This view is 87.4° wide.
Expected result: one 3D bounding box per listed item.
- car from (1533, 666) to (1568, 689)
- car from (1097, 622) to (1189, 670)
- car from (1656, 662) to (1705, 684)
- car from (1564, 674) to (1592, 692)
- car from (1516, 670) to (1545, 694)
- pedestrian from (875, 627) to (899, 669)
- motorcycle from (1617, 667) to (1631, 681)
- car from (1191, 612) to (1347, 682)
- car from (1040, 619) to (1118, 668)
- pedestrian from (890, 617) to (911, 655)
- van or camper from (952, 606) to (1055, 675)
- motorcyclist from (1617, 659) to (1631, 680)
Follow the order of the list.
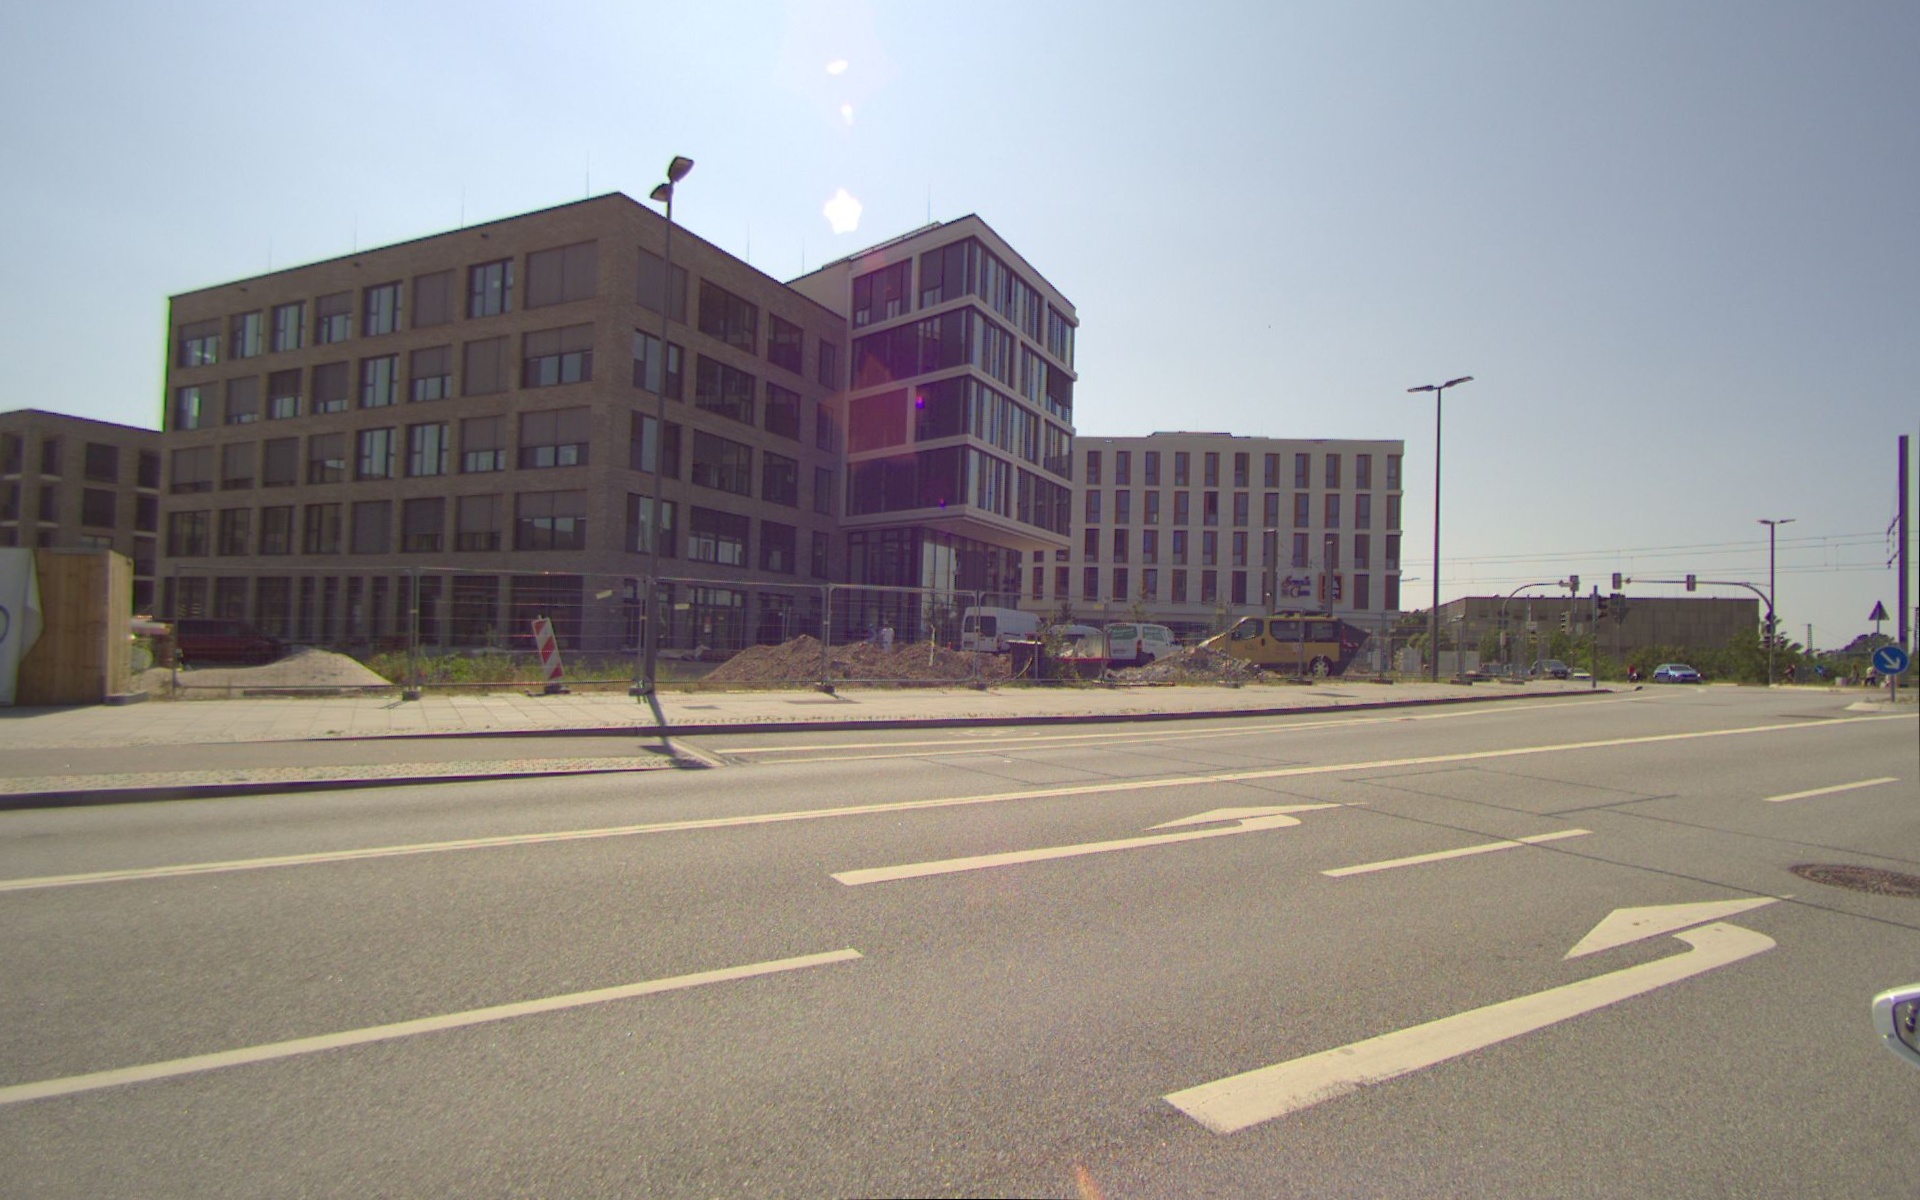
[{"bbox_3d":[42.126,5.506,71.673,1.646,1.496,3.405,0,-1,22],"label":"car"},{"bbox_3d":[7.491,1.839,40.780,1.841,1.797,4.637,2,-1,36],"label":"car"},{"bbox_3d":[50.172,5.073,69.997,1.787,1.348,4.001,2,-2,21],"label":"car"},{"bbox_3d":[55.787,7.515,90.750,1.578,1.356,2.925,2,-1,20],"label":"car"},{"bbox_3d":[45.070,6.442,79.360,1.541,1.608,3.477,2,-1,23],"label":"car"},{"bbox_3d":[-3.099,2.013,42.622,0.734,1.741,0.699,2,0,17],"label":"pedestrian"},{"bbox_3d":[50.809,5.655,76.882,0.511,0.967,1.933,2,-1,23],"label":"motorcycle"},{"bbox_3d":[9.845,1.468,32.358,4.533,1.988,1.991,2,0,9],"label":"car"},{"bbox_3d":[5.045,1.810,42.151,1.760,1.881,3.842,2,-1,32],"label":"car"},{"bbox_3d":[-2.788,1.692,47.413,0.734,1.741,0.699,2,0,17],"label":"pedestrian"},{"bbox_3d":[1.972,1.719,43.721,2.273,2.772,4.975,2,-1,32],"label":"van or camper"},{"bbox_3d":[50.847,5.307,76.929,0.739,1.514,0.677,2,0,23],"label":"motorcyclist"}]
